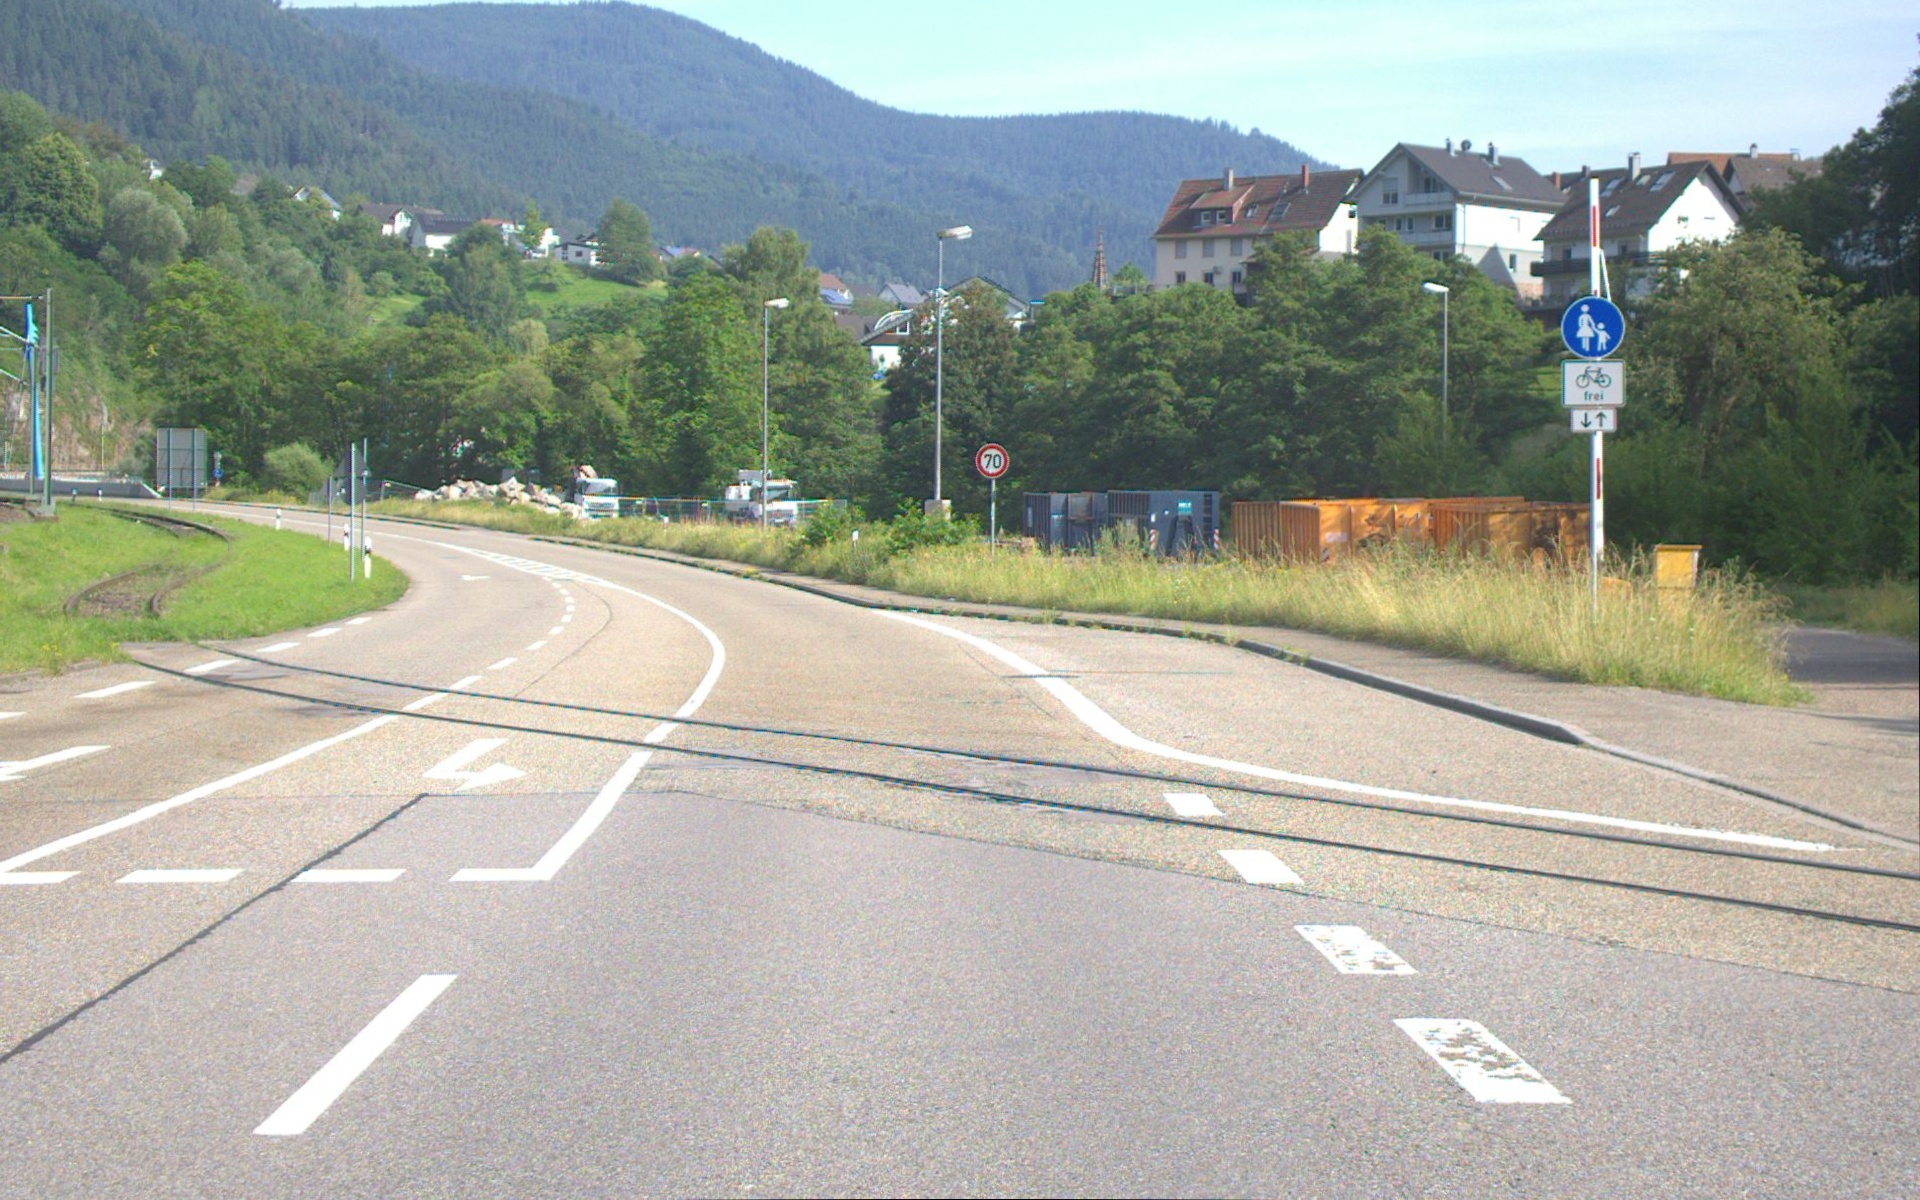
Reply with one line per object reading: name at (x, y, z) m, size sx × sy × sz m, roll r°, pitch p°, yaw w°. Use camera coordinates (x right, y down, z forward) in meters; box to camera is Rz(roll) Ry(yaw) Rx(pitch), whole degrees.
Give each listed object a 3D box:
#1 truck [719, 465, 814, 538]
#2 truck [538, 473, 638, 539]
truck at (-10.646, -5.399, 187.937) m, size 3.102 × 3.769 × 8.648 m, roll 1°, pitch 1°, yaw -17°
truck at (-22.136, -5.612, 204.060) m, size 3.102 × 3.769 × 8.647 m, roll 1°, pitch 2°, yaw -26°
